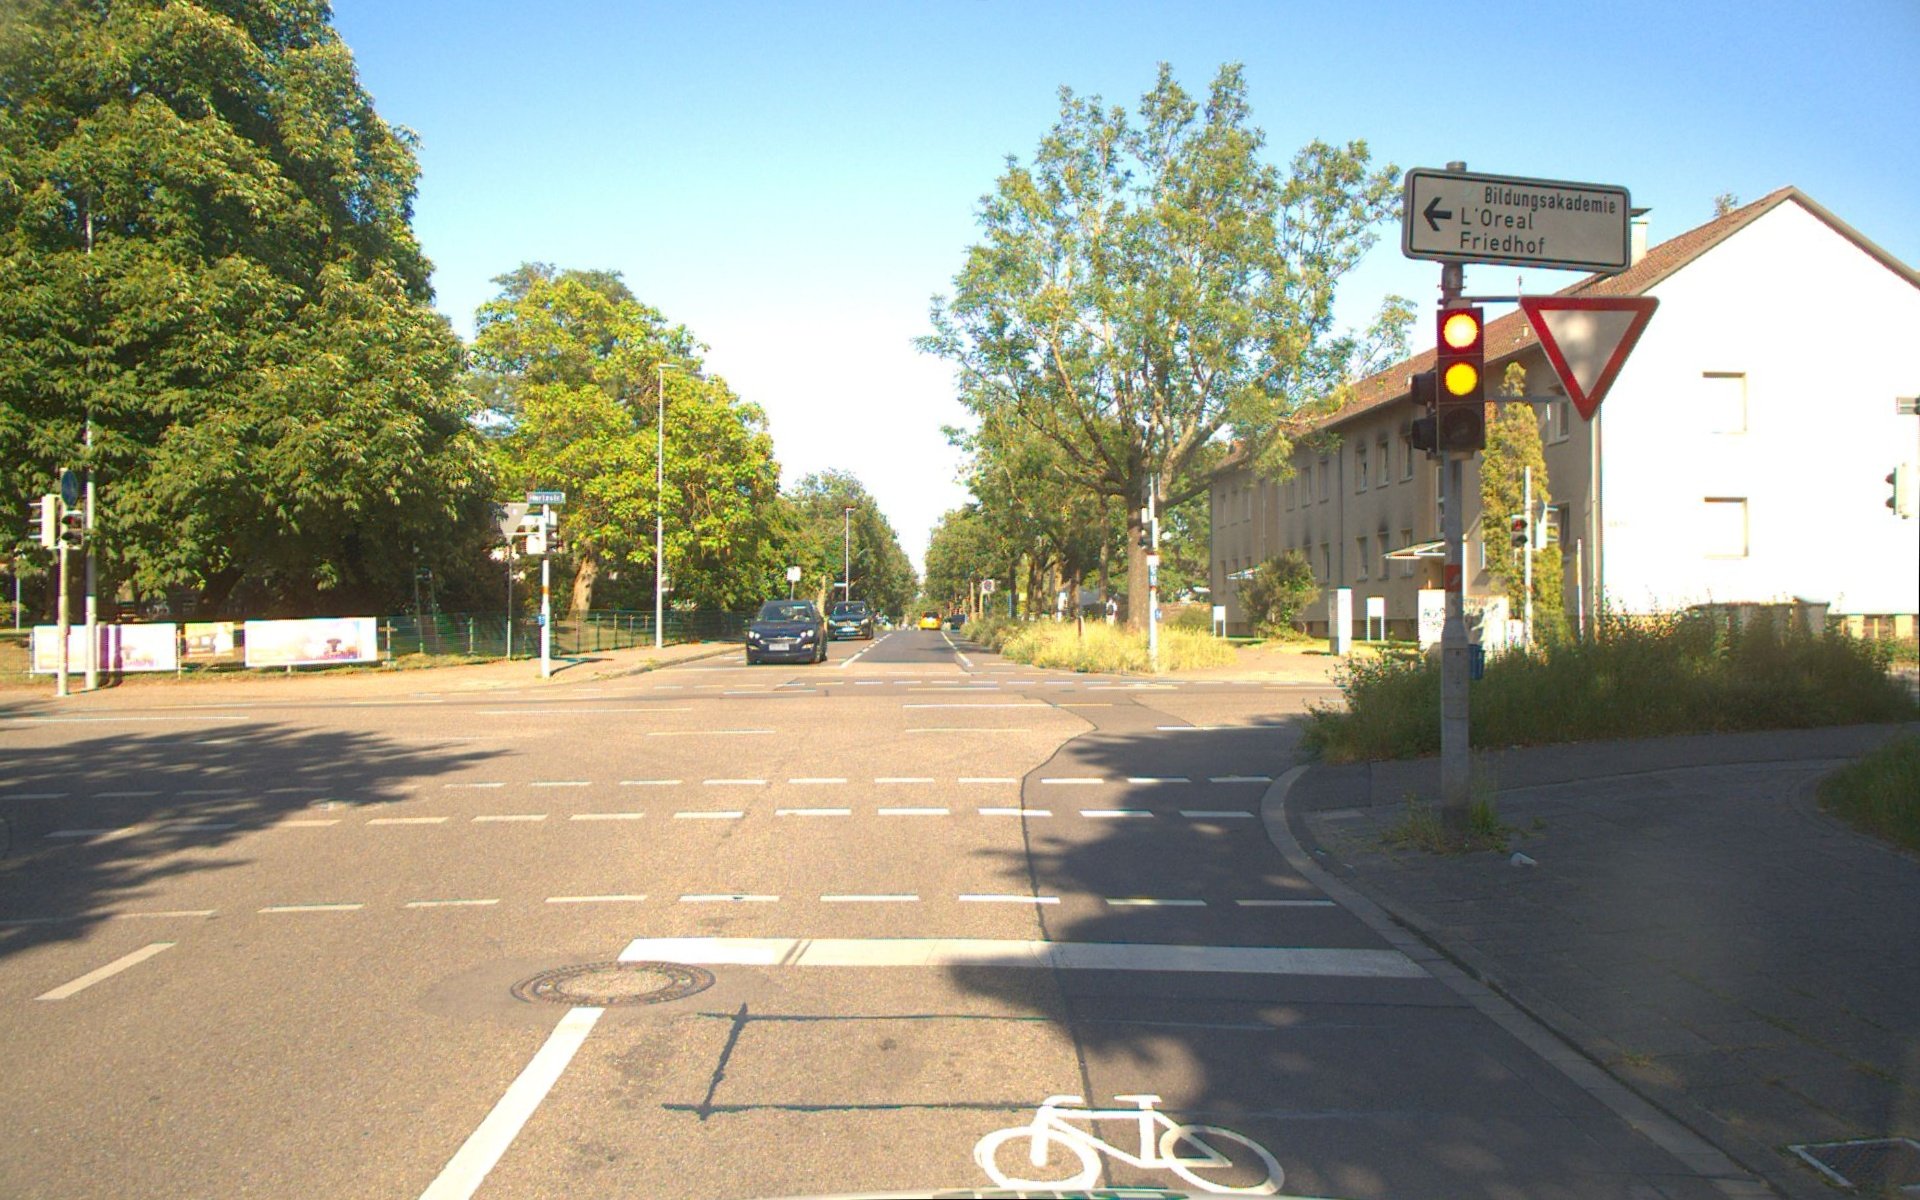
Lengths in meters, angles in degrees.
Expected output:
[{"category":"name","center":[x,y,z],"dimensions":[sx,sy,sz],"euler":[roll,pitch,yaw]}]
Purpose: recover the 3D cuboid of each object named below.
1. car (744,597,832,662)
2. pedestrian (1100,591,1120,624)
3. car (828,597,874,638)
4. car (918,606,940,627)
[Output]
[{"category":"car","center":[-3.959,0.660,38.561],"dimensions":[1.676,1.410,3.471],"euler":[0,0,0]},{"category":"pedestrian","center":[7.036,0.356,77.618],"dimensions":[0.825,1.519,0.924],"euler":[2,0,-1]},{"category":"car","center":[-4.584,0.728,69.843],"dimensions":[1.722,1.653,3.268],"euler":[0,0,0]},{"category":"car","center":[-2.436,1.295,129.955],"dimensions":[1.716,1.610,3.999],"euler":[1,0,-1]}]
